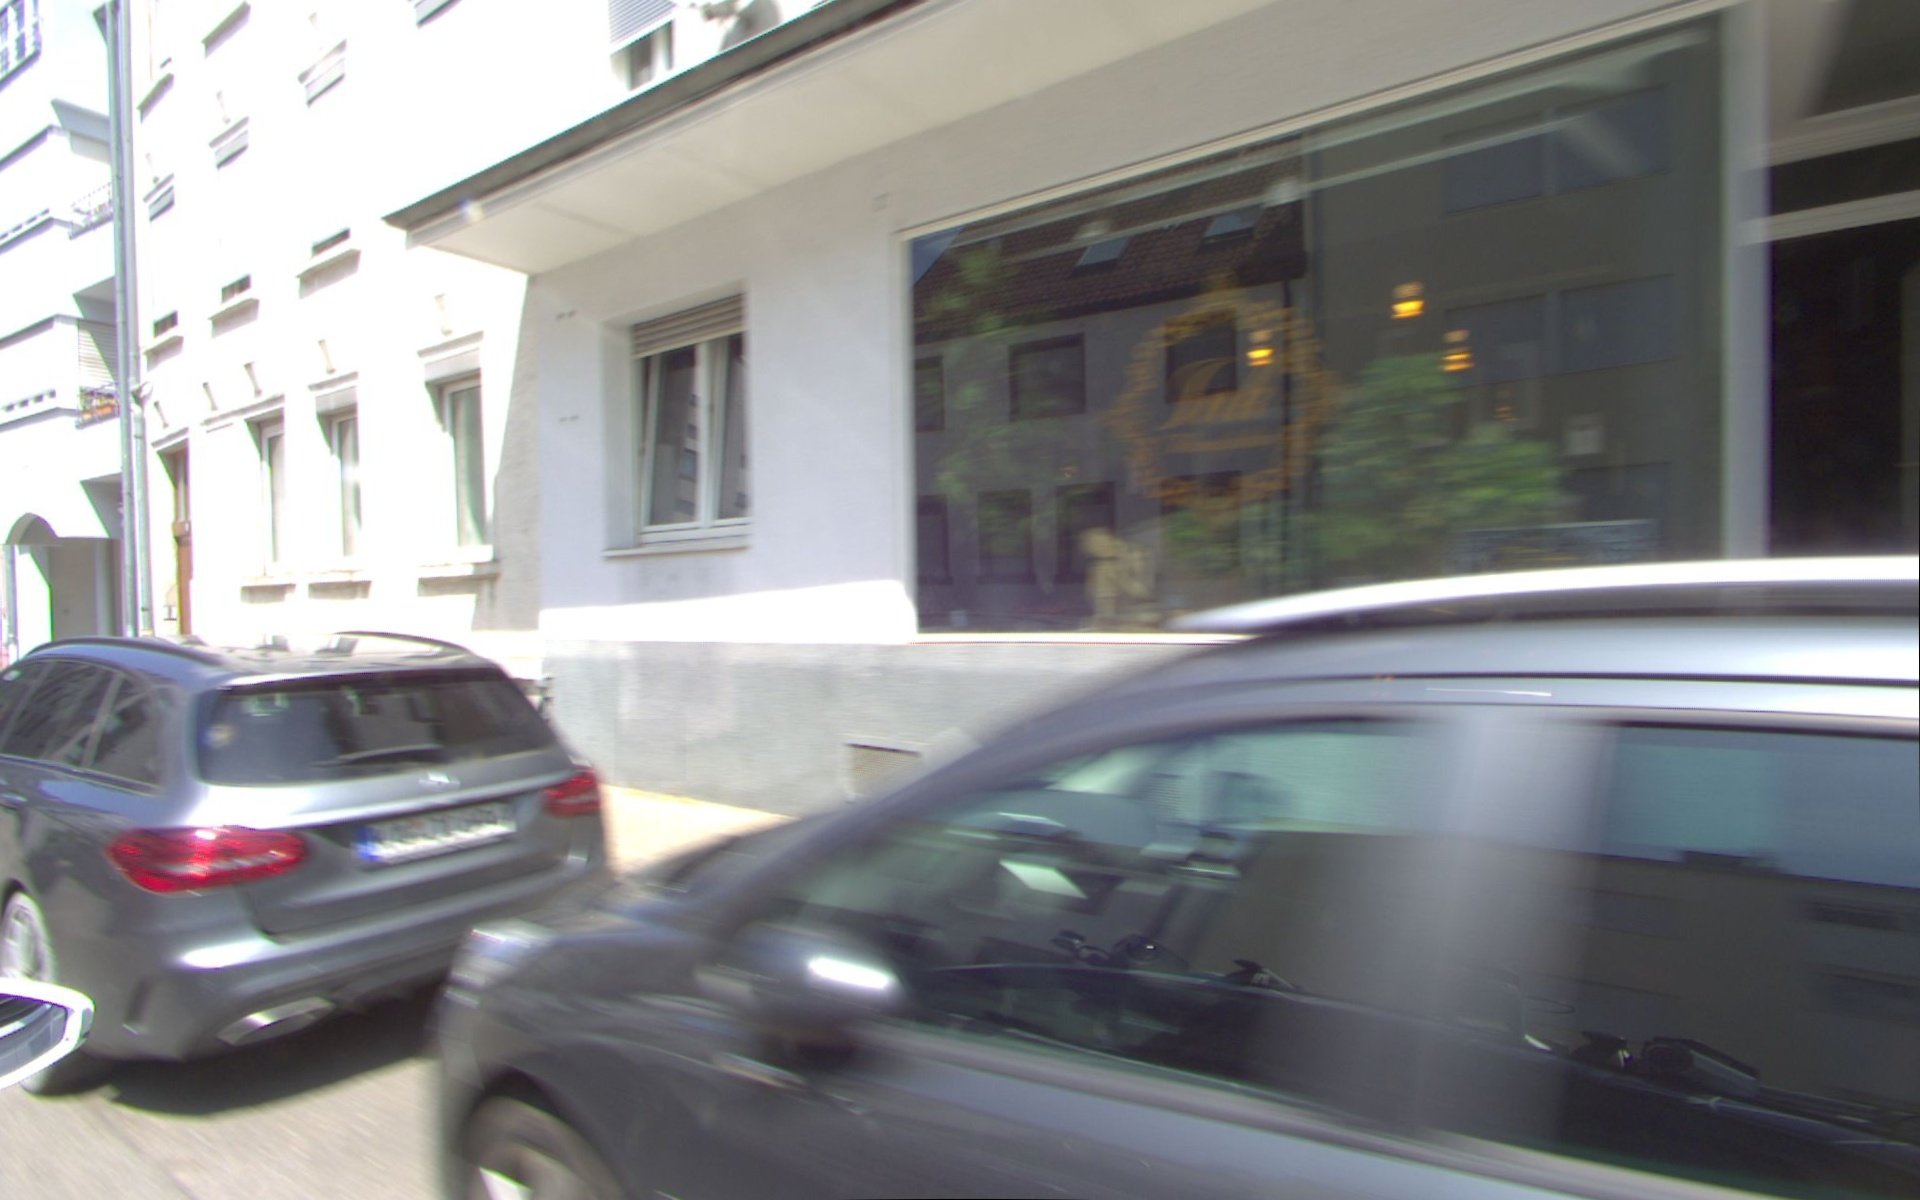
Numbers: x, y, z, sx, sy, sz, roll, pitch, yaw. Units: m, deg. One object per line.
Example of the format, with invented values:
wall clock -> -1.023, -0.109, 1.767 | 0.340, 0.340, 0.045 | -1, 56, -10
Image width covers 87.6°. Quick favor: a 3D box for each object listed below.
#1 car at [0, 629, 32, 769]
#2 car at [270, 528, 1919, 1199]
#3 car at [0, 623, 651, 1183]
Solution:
car -> -11.452, 1.028, 10.626 | 3.490, 1.404, 1.614 | -1, 0, 34
car -> 0.506, 0.721, 1.838 | 3.948, 1.528, 1.704 | -1, 0, 36
car -> -3.596, 0.852, 4.628 | 4.483, 1.439, 1.724 | -1, 0, 34
